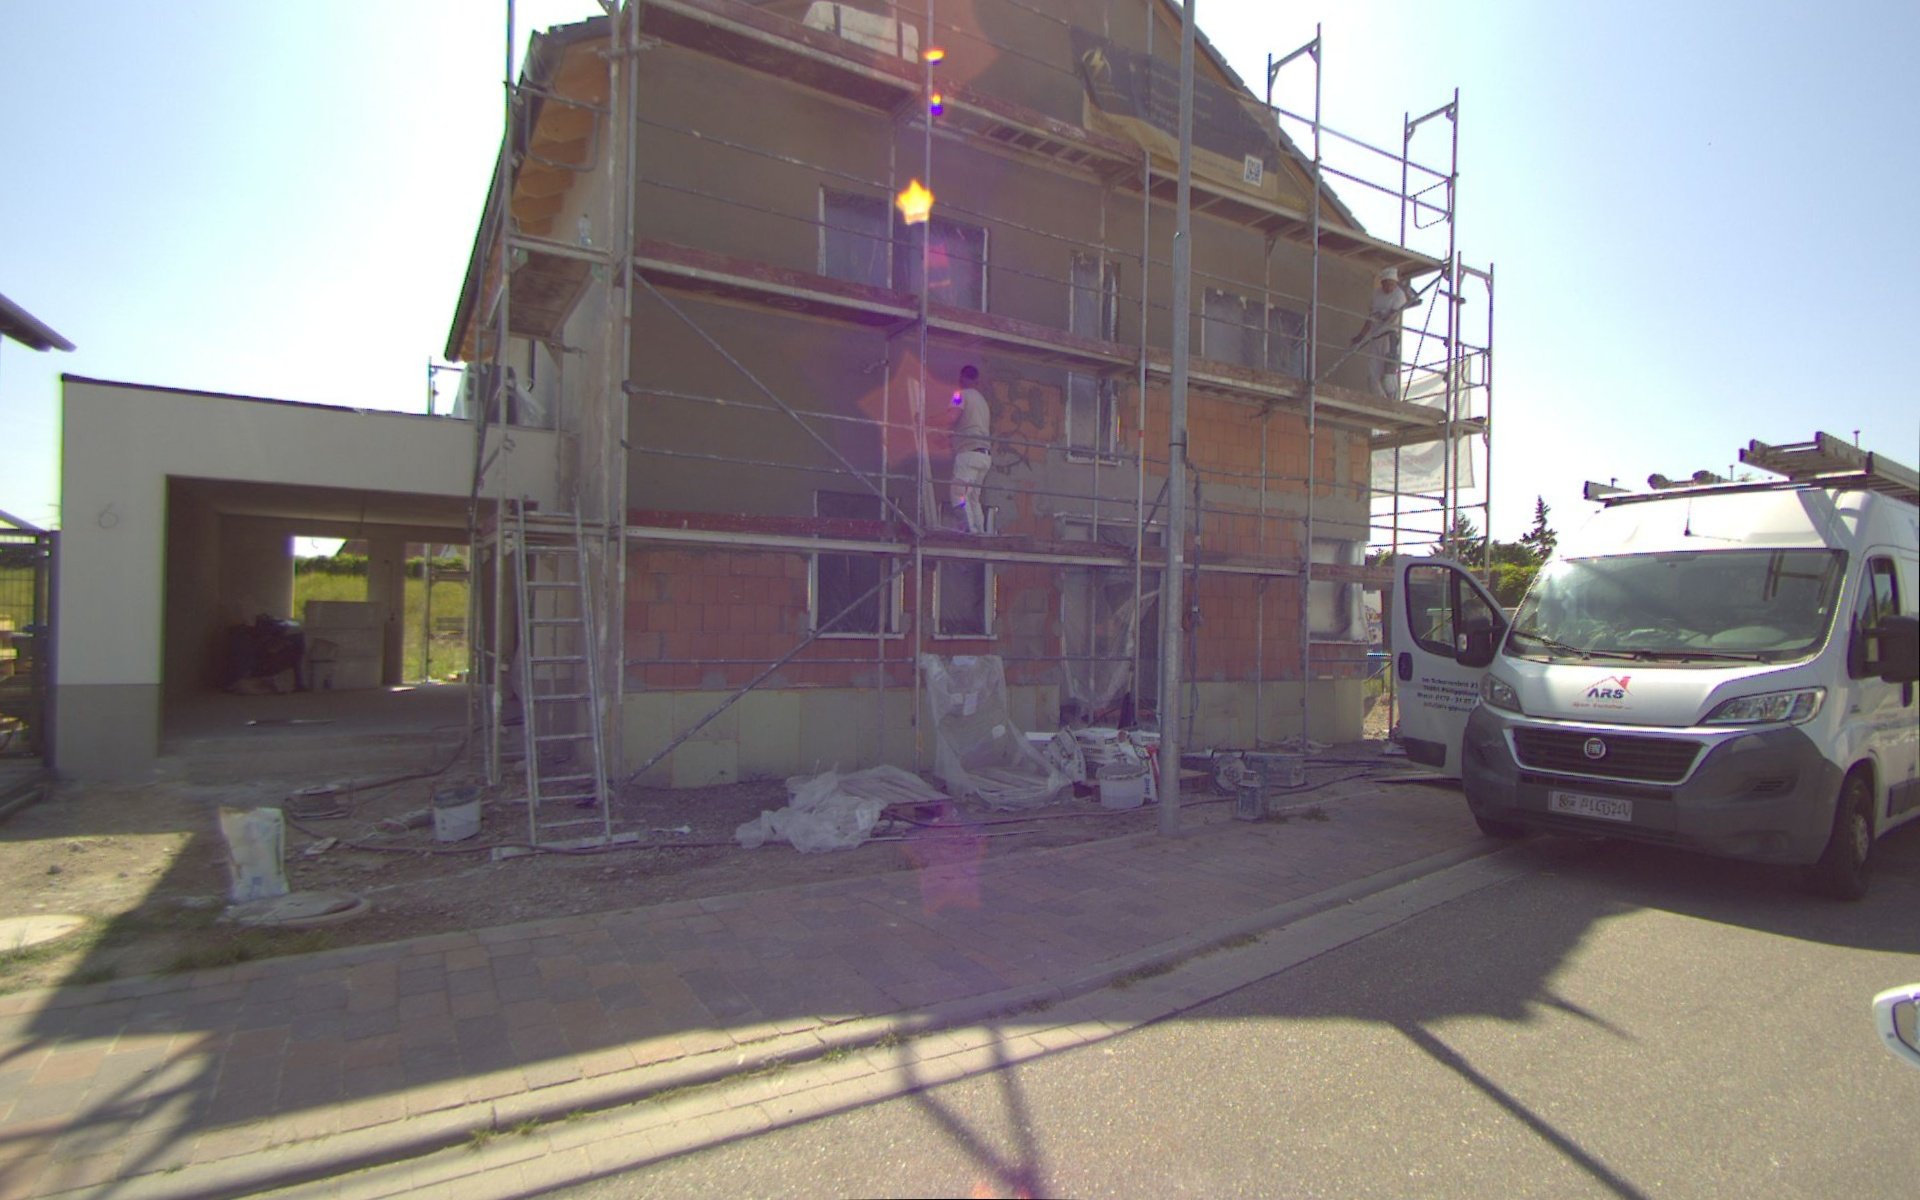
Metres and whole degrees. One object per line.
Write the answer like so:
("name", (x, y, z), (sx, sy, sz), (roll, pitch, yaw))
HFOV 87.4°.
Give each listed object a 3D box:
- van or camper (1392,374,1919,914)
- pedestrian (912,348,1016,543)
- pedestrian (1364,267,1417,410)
("van or camper", (6.054, 0.324, 7.628), (6.308, 2.587, 2.256), (2, -2, -37))
("pedestrian", (0.040, -1.423, 9.498), (0.735, 1.701, 0.577), (1, -2, 29))
("pedestrian", (5.308, -3.197, 12.407), (0.552, 1.519, 0.748), (1, -2, 23))
